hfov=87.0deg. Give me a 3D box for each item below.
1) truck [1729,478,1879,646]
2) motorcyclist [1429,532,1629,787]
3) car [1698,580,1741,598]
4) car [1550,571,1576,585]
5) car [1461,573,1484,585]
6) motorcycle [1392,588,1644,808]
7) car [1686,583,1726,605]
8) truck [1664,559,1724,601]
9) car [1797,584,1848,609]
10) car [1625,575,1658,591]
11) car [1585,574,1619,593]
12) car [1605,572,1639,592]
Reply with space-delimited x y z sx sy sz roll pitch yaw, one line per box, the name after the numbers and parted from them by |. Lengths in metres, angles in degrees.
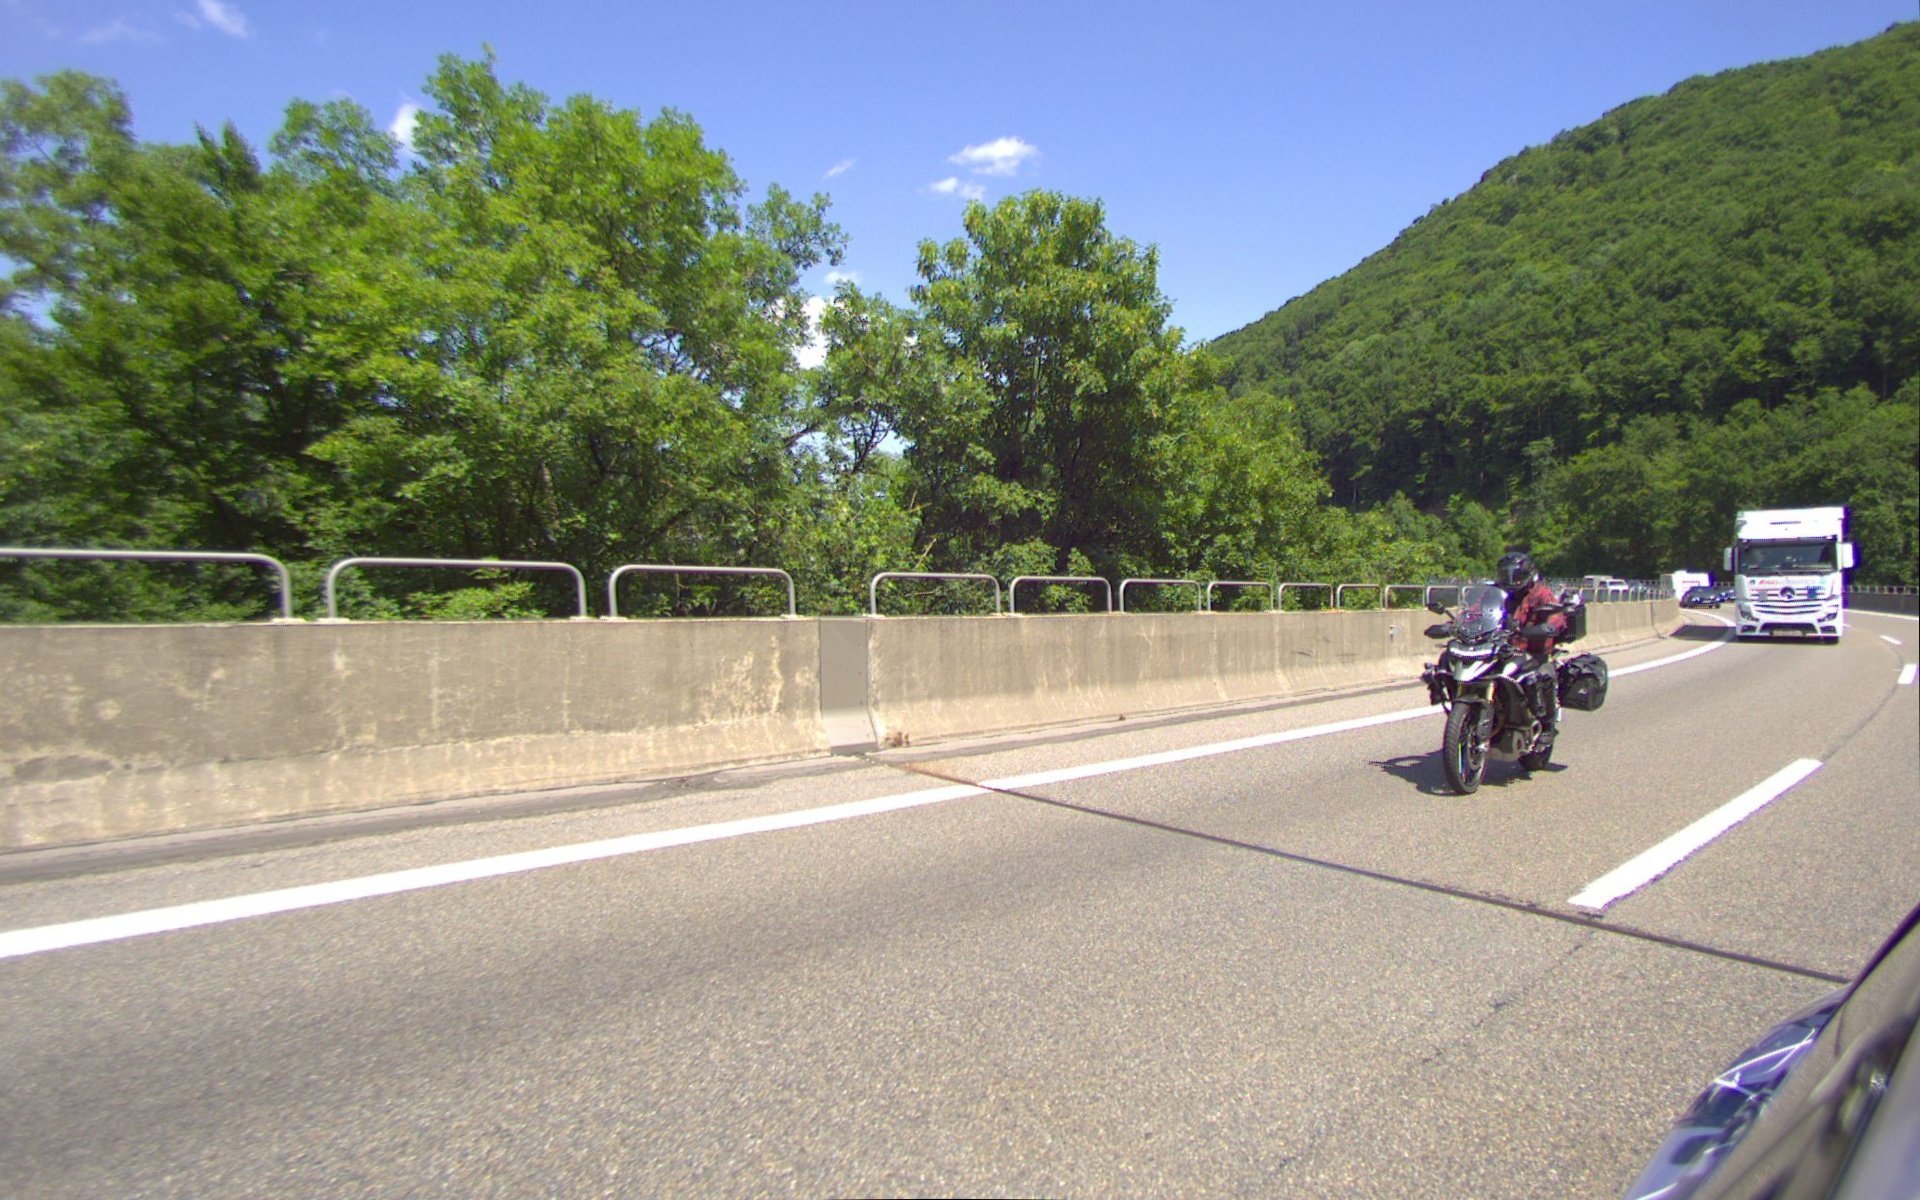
26.918 -1.060 32.543 2.956 4.184 16.471 0 1 39 | truck
4.549 0.412 8.081 1.316 1.823 1.061 -1 1 -44 | motorcyclist
65.025 -0.960 86.684 1.977 1.471 3.971 0 1 22 | car
83.692 -3.058 140.483 1.969 1.816 3.986 0 1 12 | car
84.880 -3.474 167.724 1.964 2.039 3.996 0 0 4 | car
4.464 0.634 7.969 2.636 1.437 0.973 -1 1 -43 | motorcycle
54.243 -0.474 73.664 1.741 1.507 3.942 1 2 28 | car
56.760 -1.530 78.382 2.593 3.141 6.793 0 1 26 | truck
55.238 -0.228 64.869 1.742 1.507 3.939 1 2 30 | car
77.168 -1.899 114.612 1.973 1.816 3.978 0 1 17 | car
70.589 -1.868 111.305 1.970 2.038 3.984 1 1 13 | car
69.152 -1.879 105.722 1.974 2.039 3.977 1 1 18 | car
